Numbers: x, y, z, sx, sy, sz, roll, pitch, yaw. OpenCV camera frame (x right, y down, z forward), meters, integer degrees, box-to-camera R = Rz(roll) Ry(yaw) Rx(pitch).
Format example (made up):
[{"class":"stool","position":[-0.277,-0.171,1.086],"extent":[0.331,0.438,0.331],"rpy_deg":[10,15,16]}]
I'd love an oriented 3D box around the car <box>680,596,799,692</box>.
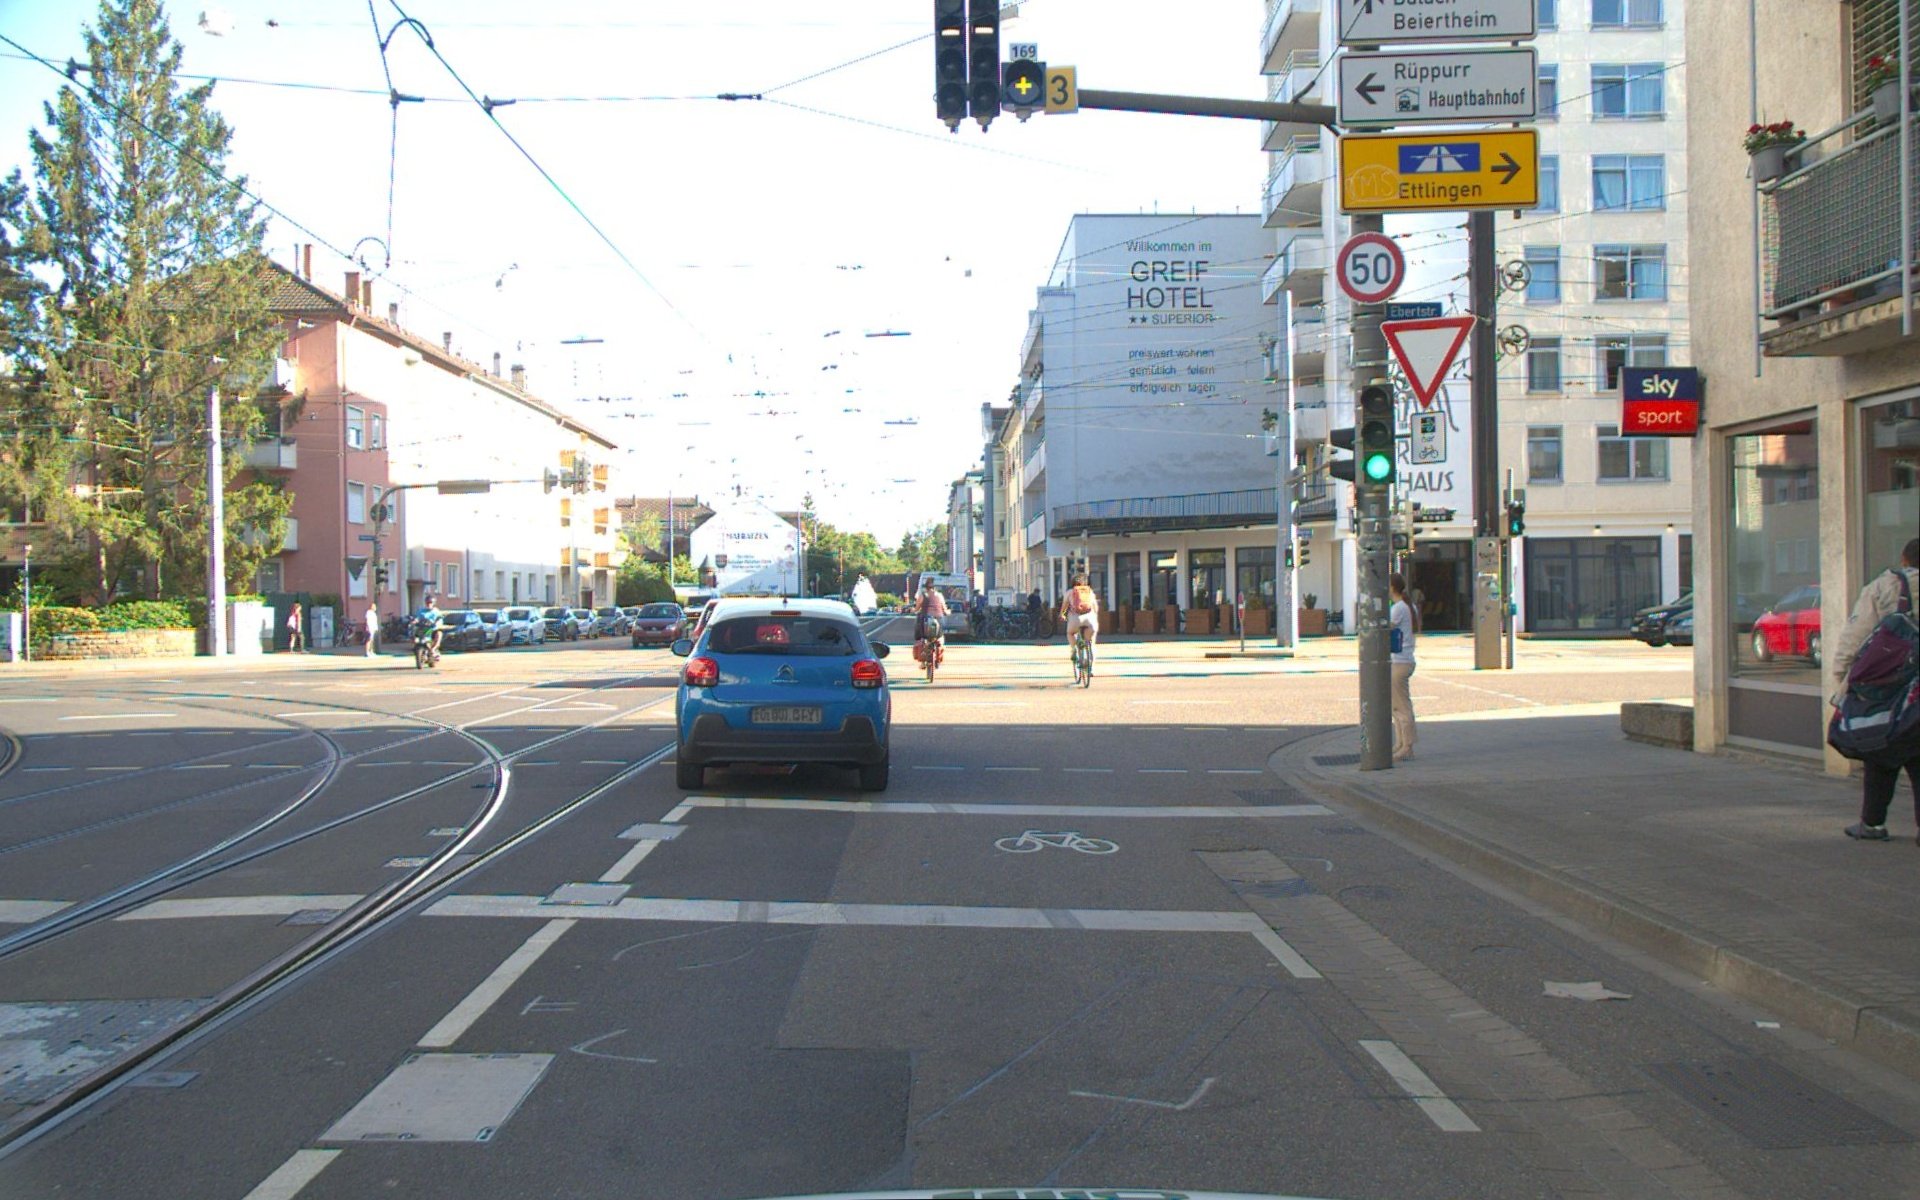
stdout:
[{"class":"car","position":[-3.851,0.732,29.449],"extent":[1.749,1.548,3.760],"rpy_deg":[1,0,-3]}]

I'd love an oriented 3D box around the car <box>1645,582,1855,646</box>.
[{"class":"car","position":[19.704,0.355,41.405],"extent":[4.346,1.575,1.937],"rpy_deg":[0,-1,3]}]

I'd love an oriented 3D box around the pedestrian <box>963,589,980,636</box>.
[{"class":"pedestrian","position":[0.416,0.447,60.353],"extent":[0.600,1.683,0.671],"rpy_deg":[1,-1,1]}]

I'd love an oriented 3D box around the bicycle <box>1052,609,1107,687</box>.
[{"class":"bicycle","position":[1.963,0.763,27.037],"extent":[0.793,1.202,2.065],"rpy_deg":[1,-1,6]}]

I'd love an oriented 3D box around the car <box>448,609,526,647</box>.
[{"class":"car","position":[-18.839,1.099,66.051],"extent":[1.864,1.462,4.102],"rpy_deg":[1,-1,0]}]

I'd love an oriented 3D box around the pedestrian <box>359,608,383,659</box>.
[{"class":"pedestrian","position":[-18.646,1.047,52.367],"extent":[0.506,1.596,0.573],"rpy_deg":[1,-1,-1]}]

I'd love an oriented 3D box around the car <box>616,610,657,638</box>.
[{"class":"car","position":[-19.394,1.452,99.161],"extent":[1.832,1.604,3.997],"rpy_deg":[1,-1,-3]}]

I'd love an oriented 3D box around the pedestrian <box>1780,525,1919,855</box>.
[{"class":"pedestrian","position":[4.966,0.424,8.632],"extent":[0.867,1.620,0.810],"rpy_deg":[-3,1,-6]}]

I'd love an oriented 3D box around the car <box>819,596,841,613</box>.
[{"class":"car","position":[-14.077,0.467,178.885],"extent":[2.032,1.793,5.035],"rpy_deg":[1,-1,-1]}]

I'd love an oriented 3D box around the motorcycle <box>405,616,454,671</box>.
[{"class":"motorcycle","position":[-12.352,1.013,38.542],"extent":[0.698,1.241,1.963],"rpy_deg":[-1,-2,-6]}]

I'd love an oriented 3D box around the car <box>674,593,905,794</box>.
[{"class":"car","position":[-1.510,0.701,14.094],"extent":[1.704,1.478,3.655],"rpy_deg":[0,0,-8]}]

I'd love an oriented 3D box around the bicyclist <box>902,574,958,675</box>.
[{"class":"bicyclist","position":[-0.513,0.427,28.912],"extent":[0.921,1.702,1.079],"rpy_deg":[1,-1,1]}]

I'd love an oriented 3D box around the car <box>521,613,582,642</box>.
[{"class":"car","position":[-19.027,1.259,77.258],"extent":[1.908,1.261,4.280],"rpy_deg":[1,-1,-2]}]

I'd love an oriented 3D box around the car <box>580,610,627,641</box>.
[{"class":"car","position":[-19.268,1.370,89.541],"extent":[1.832,1.604,3.997],"rpy_deg":[1,-1,-3]}]

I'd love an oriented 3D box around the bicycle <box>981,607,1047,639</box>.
[{"class":"bicycle","position":[1.883,0.795,57.828],"extent":[2.206,1.019,0.856],"rpy_deg":[-2,-1,-3]}]

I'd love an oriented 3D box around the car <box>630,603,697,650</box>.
[{"class":"car","position":[-10.124,0.890,56.760],"extent":[1.743,1.512,3.826],"rpy_deg":[-1,0,-3]}]

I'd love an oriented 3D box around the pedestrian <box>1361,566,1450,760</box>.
[{"class":"pedestrian","position":[3.974,0.555,14.745],"extent":[0.528,1.652,0.733],"rpy_deg":[-6,-3,23]}]

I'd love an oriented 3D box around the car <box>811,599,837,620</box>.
[{"class":"car","position":[-13.274,0.901,161.246],"extent":[2.173,1.965,4.948],"rpy_deg":[1,-1,-1]}]

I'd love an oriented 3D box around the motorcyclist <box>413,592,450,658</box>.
[{"class":"motorcyclist","position":[-12.367,0.593,38.701],"extent":[0.680,1.523,0.683],"rpy_deg":[-1,-2,-6]}]

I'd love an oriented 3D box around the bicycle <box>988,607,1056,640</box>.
[{"class":"bicycle","position":[2.106,0.797,56.451],"extent":[2.206,1.019,0.856],"rpy_deg":[-2,-1,-3]}]

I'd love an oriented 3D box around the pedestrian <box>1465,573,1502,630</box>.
[{"class":"pedestrian","position":[16.493,0.060,52.141],"extent":[0.888,1.777,0.737],"rpy_deg":[1,-1,-1]}]

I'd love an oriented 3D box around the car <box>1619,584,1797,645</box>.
[{"class":"car","position":[20.030,0.383,44.391],"extent":[3.950,1.603,1.795],"rpy_deg":[0,-1,-1]}]

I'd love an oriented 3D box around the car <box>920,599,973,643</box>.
[{"class":"car","position":[-0.510,0.736,58.525],"extent":[1.625,1.456,3.885],"rpy_deg":[1,-1,-4]}]

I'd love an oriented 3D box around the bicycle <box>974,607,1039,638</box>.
[{"class":"bicycle","position":[1.655,0.812,58.941],"extent":[2.206,1.019,0.856],"rpy_deg":[-2,-1,-3]}]

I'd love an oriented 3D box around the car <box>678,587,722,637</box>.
[{"class":"car","position":[-17.307,0.814,110.119],"extent":[2.369,3.197,3.488],"rpy_deg":[1,-1,-1]}]

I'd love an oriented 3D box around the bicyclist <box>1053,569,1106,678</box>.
[{"class":"bicyclist","position":[1.945,0.382,26.835],"extent":[0.793,1.721,0.936],"rpy_deg":[1,-1,6]}]

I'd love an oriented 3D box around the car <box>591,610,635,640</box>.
[{"class":"car","position":[-19.662,1.399,93.828],"extent":[1.832,1.604,3.997],"rpy_deg":[1,-1,-3]}]

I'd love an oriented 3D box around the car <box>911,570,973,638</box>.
[{"class":"car","position":[-0.740,0.166,63.565],"extent":[2.220,2.525,5.005],"rpy_deg":[0,0,-3]}]

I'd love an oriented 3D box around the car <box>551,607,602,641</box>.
[{"class":"car","position":[-19.326,1.193,83.479],"extent":[1.832,1.604,3.997],"rpy_deg":[1,-1,-3]}]

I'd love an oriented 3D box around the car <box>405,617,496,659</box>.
[{"class":"car","position":[-18.701,1.422,60.894],"extent":[2.111,1.457,4.437],"rpy_deg":[1,-2,-3]}]

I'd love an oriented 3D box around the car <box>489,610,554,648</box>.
[{"class":"car","position":[-18.705,1.213,70.756],"extent":[1.706,1.553,4.228],"rpy_deg":[1,-1,-1]}]

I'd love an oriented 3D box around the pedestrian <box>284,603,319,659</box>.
[{"class":"pedestrian","position":[-20.924,0.983,52.540],"extent":[0.692,1.752,0.780],"rpy_deg":[0,-1,41]}]

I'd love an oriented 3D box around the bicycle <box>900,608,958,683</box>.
[{"class":"bicycle","position":[-0.516,0.780,28.865],"extent":[0.921,1.245,2.094],"rpy_deg":[1,-1,1]}]
